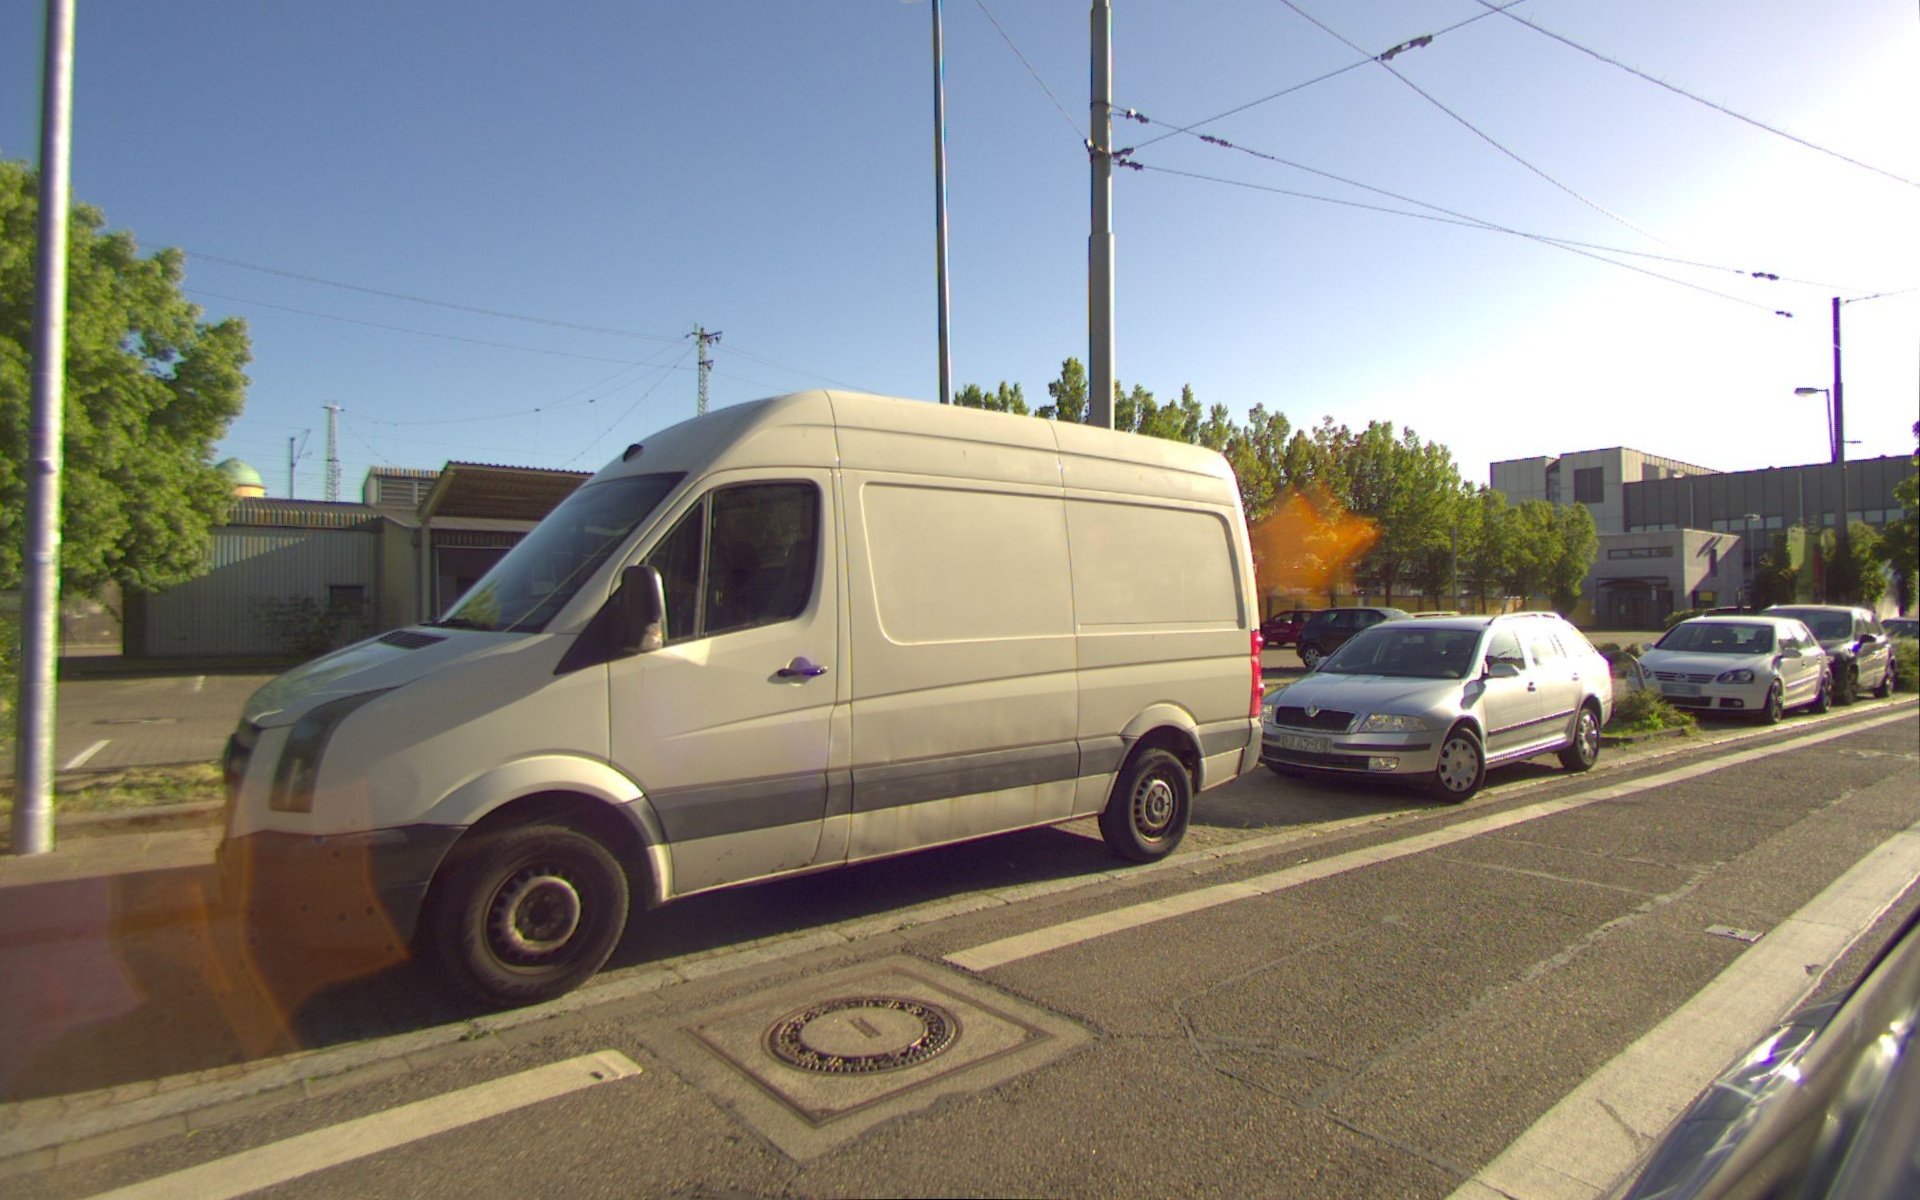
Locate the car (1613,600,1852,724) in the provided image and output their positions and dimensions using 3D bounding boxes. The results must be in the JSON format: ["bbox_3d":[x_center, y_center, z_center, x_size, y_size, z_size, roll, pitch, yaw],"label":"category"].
[{"bbox_3d":[11.468,0.796,14.938,4.173,1.531,1.733,0,1,-37],"label":"car"}]

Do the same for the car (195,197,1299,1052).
[{"bbox_3d":[-0.709,0.041,5.918,5.980,2.699,2.186,0,1,-38],"label":"car"}]

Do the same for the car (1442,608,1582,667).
[{"bbox_3d":[10.937,0.712,20.005,3.001,1.047,1.312,0,-2,-38],"label":"car"}]

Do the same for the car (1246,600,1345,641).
[{"bbox_3d":[13.165,0.788,39.860,1.707,1.515,3.323,0,0,-34],"label":"car"}]

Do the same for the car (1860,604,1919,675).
[{"bbox_3d":[22.059,0.836,22.783,4.414,1.483,1.732,0,-2,-36],"label":"car"}]

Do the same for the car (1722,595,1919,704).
[{"bbox_3d":[15.049,0.756,17.620,4.262,1.624,1.733,0,1,-37],"label":"car"}]

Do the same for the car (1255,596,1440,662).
[{"bbox_3d":[9.051,0.683,23.865,1.726,1.418,3.711,0,-2,-37],"label":"car"}]

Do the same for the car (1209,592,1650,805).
[{"bbox_3d":[4.556,0.712,9.539,4.516,1.549,1.915,0,0,-38],"label":"car"}]
